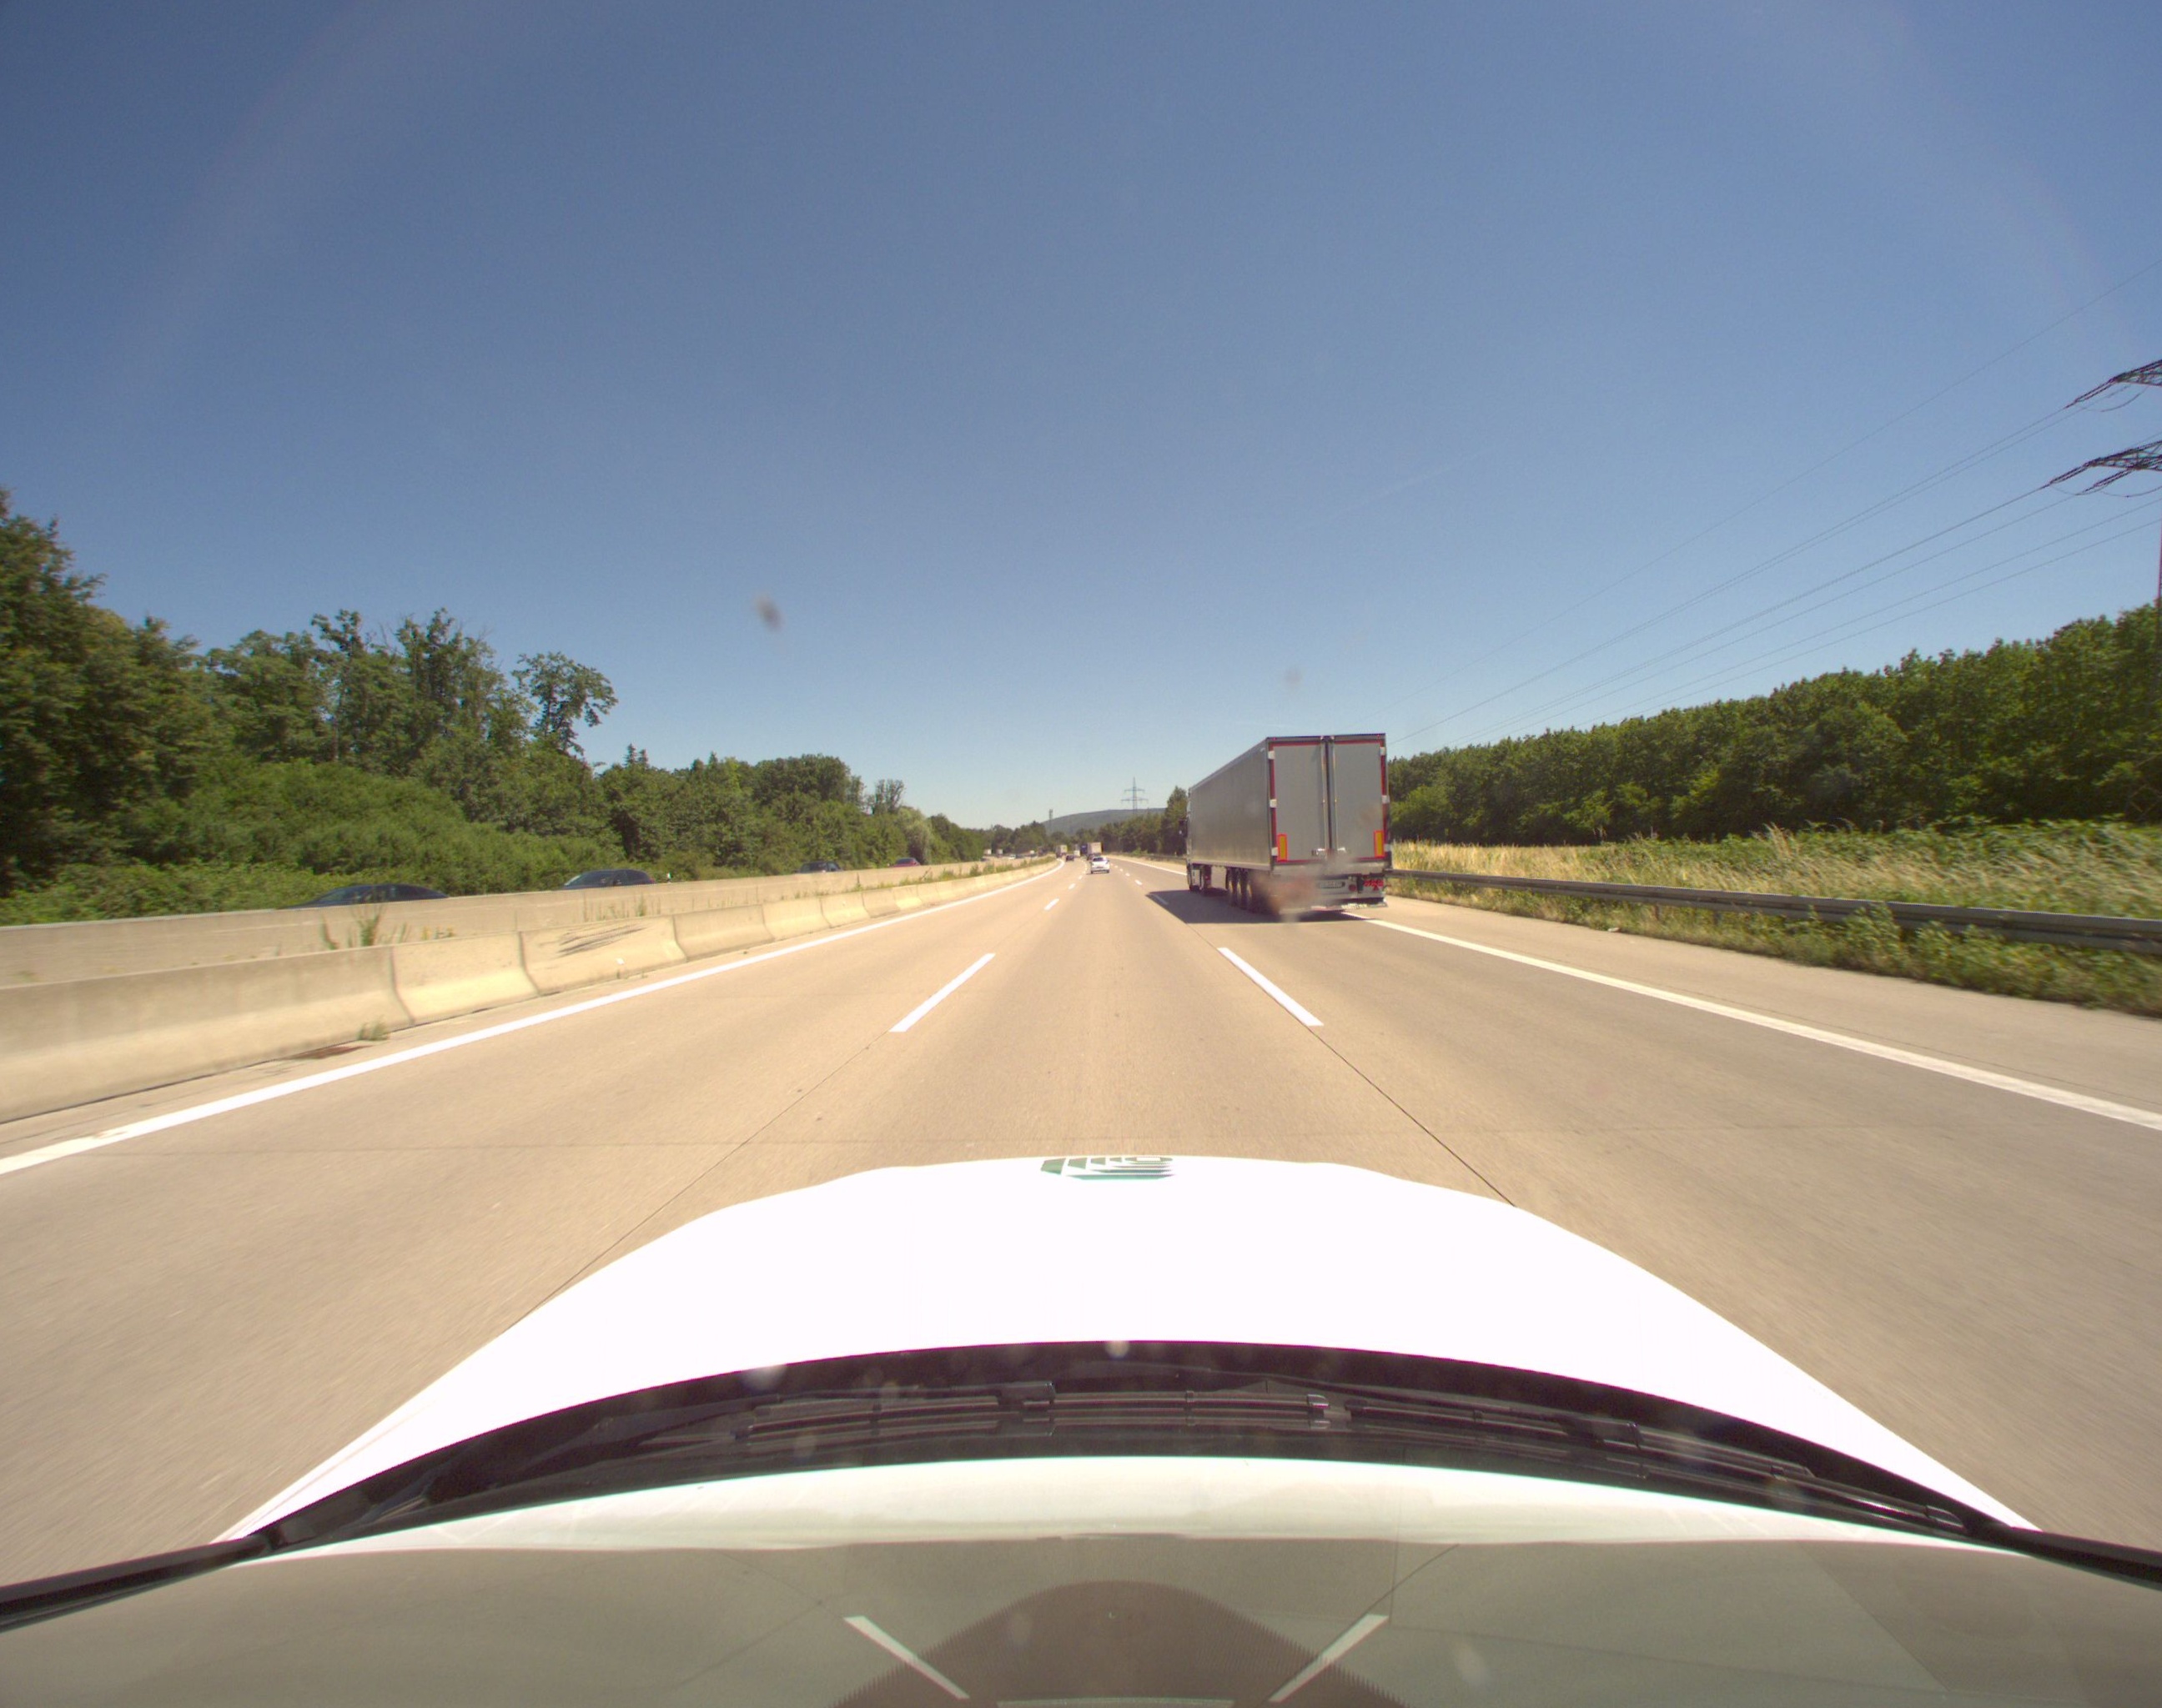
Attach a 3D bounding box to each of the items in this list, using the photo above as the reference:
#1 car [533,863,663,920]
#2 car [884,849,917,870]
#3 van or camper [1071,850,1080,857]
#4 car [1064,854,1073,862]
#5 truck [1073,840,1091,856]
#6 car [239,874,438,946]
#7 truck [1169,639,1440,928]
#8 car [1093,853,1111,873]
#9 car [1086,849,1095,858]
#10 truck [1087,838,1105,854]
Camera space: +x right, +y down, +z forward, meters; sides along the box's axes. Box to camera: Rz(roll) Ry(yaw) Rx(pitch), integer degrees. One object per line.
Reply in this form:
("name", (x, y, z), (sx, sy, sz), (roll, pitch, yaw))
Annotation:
("car", (-16.187, 1.192, 27.604), (1.697, 1.658, 4.406), (-2, 0, 0))
("car", (-15.483, 0.456, 70.202), (1.793, 1.670, 4.218), (-3, 0, 1))
("van or camper", (-1.648, -0.144, 235.574), (1.866, 1.837, 3.991), (-5, 1, -7))
("car", (-2.755, 0.798, 179.467), (2.016, 1.700, 3.999), (0, 1, -1))
("truck", (0.138, -1.918, 264.316), (3.904, 4.740, 14.016), (-5, 1, -7))
("car", (-20.290, 1.458, 22.523), (1.697, 1.658, 4.090), (-2, 0, 0))
("truck", (5.519, -1.599, 25.603), (3.565, 5.786, 18.248), (-1, 1, 0))
("car", (1.895, 0.792, 73.962), (1.635, 1.662, 3.361), (0, 1, 1))
("car", (2.079, -0.190, 172.119), (1.606, 1.725, 3.571), (-5, 1, -2))
("truck", (4.048, -2.095, 220.217), (3.811, 3.889, 14.142), (-5, 1, -2))
